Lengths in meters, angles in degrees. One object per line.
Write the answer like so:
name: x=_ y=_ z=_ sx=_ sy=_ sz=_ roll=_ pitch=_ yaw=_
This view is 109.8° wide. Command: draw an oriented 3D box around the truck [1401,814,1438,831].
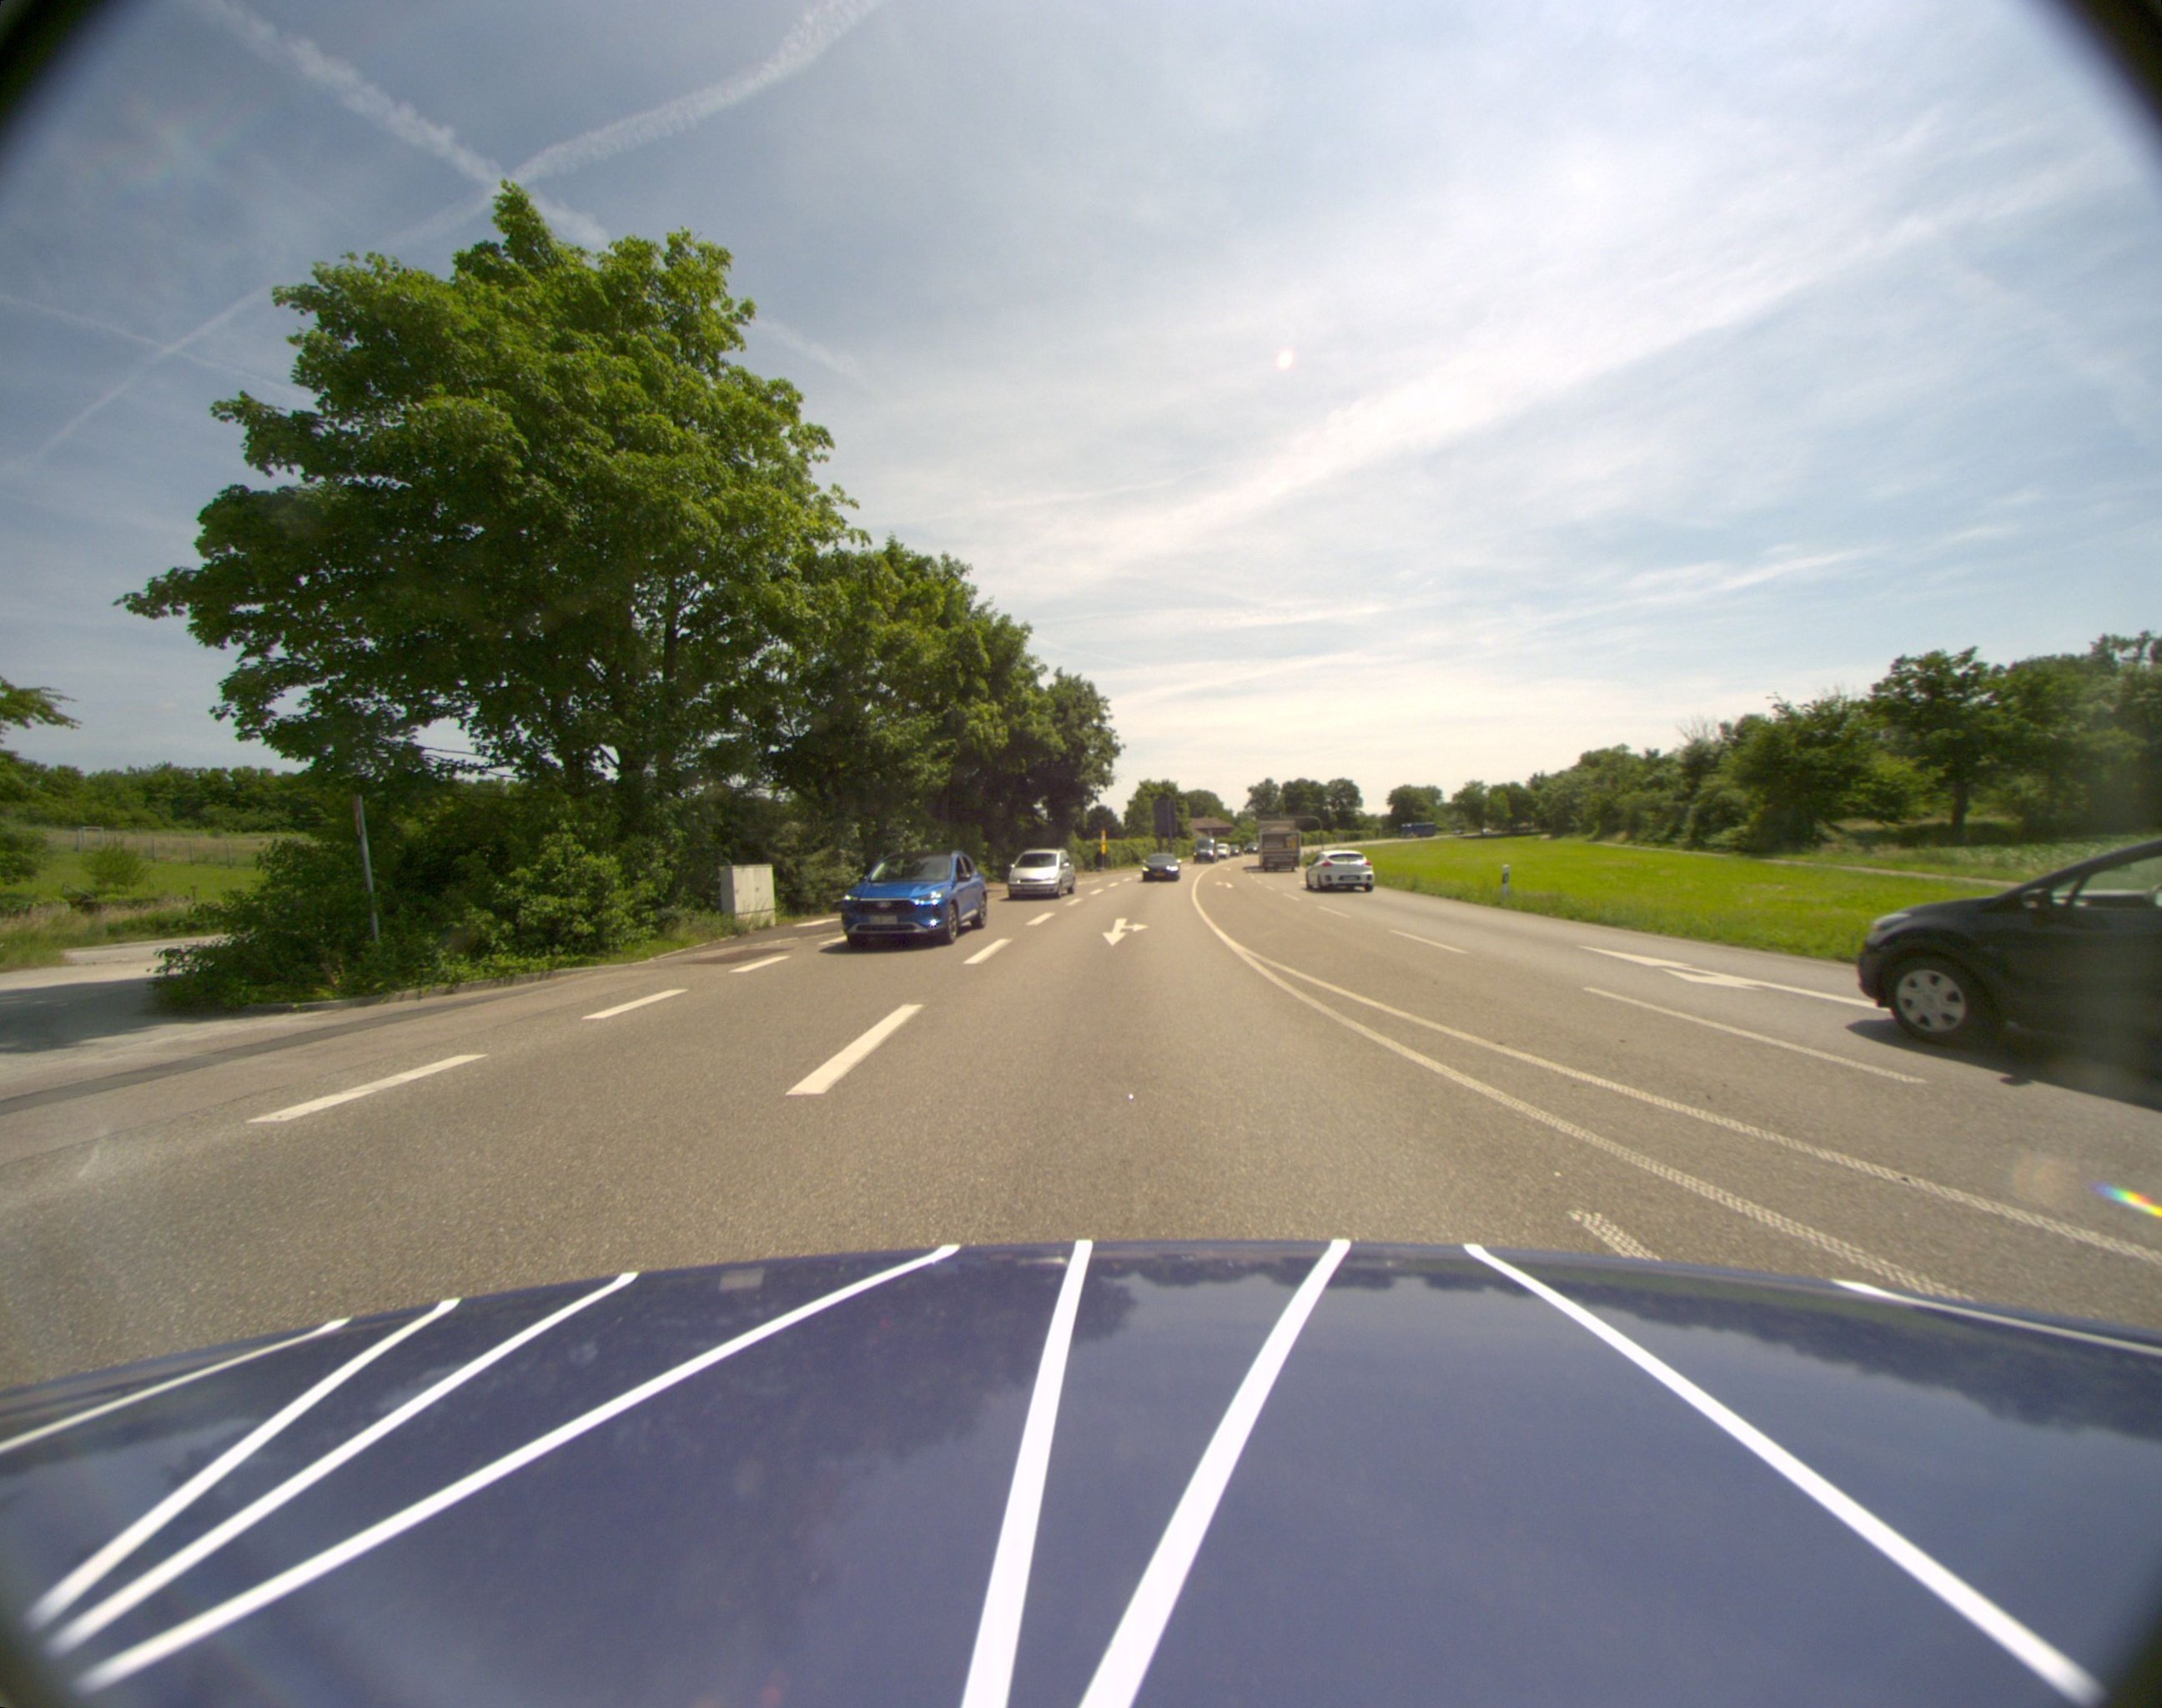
truck: x=92.465 y=-8.665 z=207.303 sx=16.190 sy=4.582 sz=2.739 roll=-3 pitch=1 yaw=-42

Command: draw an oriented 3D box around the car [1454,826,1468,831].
car: x=112.349 y=-7.574 z=224.553 sx=4.164 sy=1.484 sz=1.780 roll=-2 pitch=1 yaw=-33

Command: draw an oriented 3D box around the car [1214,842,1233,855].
car: x=16.638 y=-0.630 z=88.657 sx=1.781 sy=1.484 sz=4.162 roll=-2 pitch=1 yaw=16

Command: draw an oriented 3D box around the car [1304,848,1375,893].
car: x=9.217 y=0.553 z=27.399 sx=1.619 sy=1.454 sz=4.002 roll=-2 pitch=1 yaw=7

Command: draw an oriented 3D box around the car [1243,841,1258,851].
car: x=25.306 y=-1.224 z=113.332 sx=1.781 sy=1.484 sz=4.162 roll=-2 pitch=1 yaw=16

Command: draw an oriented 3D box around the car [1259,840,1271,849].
car: x=31.919 y=-1.681 z=131.684 sx=1.781 sy=1.484 sz=4.162 roll=-2 pitch=1 yaw=16

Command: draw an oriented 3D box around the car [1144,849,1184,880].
car: x=4.346 y=0.519 z=39.285 sx=1.782 sy=1.484 sz=4.161 roll=-2 pitch=0 yaw=10

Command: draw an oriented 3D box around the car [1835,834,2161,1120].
car: x=6.758 y=0.672 z=4.007 sx=1.620 sy=1.549 sz=4.000 roll=-2 pitch=1 yaw=1

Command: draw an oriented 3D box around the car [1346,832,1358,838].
car: x=64.952 y=-4.613 z=182.088 sx=1.779 sy=1.484 sz=4.165 roll=-1 pitch=1 yaw=32

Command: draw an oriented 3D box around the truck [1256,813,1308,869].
truck: x=13.666 y=-0.877 z=52.151 sx=2.973 sy=3.549 sz=6.903 roll=-1 pitch=1 yaw=11

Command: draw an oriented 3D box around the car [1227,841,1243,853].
car: x=20.498 y=-0.908 z=100.923 sx=1.781 sy=1.484 sz=4.162 roll=-2 pitch=1 yaw=16

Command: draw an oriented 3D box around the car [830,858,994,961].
car: x=-2.986 y=0.913 z=14.439 sx=1.782 sy=1.549 sz=4.389 roll=-2 pitch=1 yaw=4

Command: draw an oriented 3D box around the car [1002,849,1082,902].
car: x=-1.281 y=0.690 z=27.196 sx=1.864 sy=1.682 sz=4.529 roll=-2 pitch=1 yaw=10

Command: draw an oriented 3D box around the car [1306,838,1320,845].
car: x=49.070 y=-2.654 z=160.498 sx=1.779 sy=1.484 sz=4.165 roll=-1 pitch=1 yaw=32

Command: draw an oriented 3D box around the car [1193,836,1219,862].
car: x=12.425 y=-0.532 z=75.522 sx=1.978 sy=2.504 sz=4.162 roll=-1 pitch=1 yaw=16
